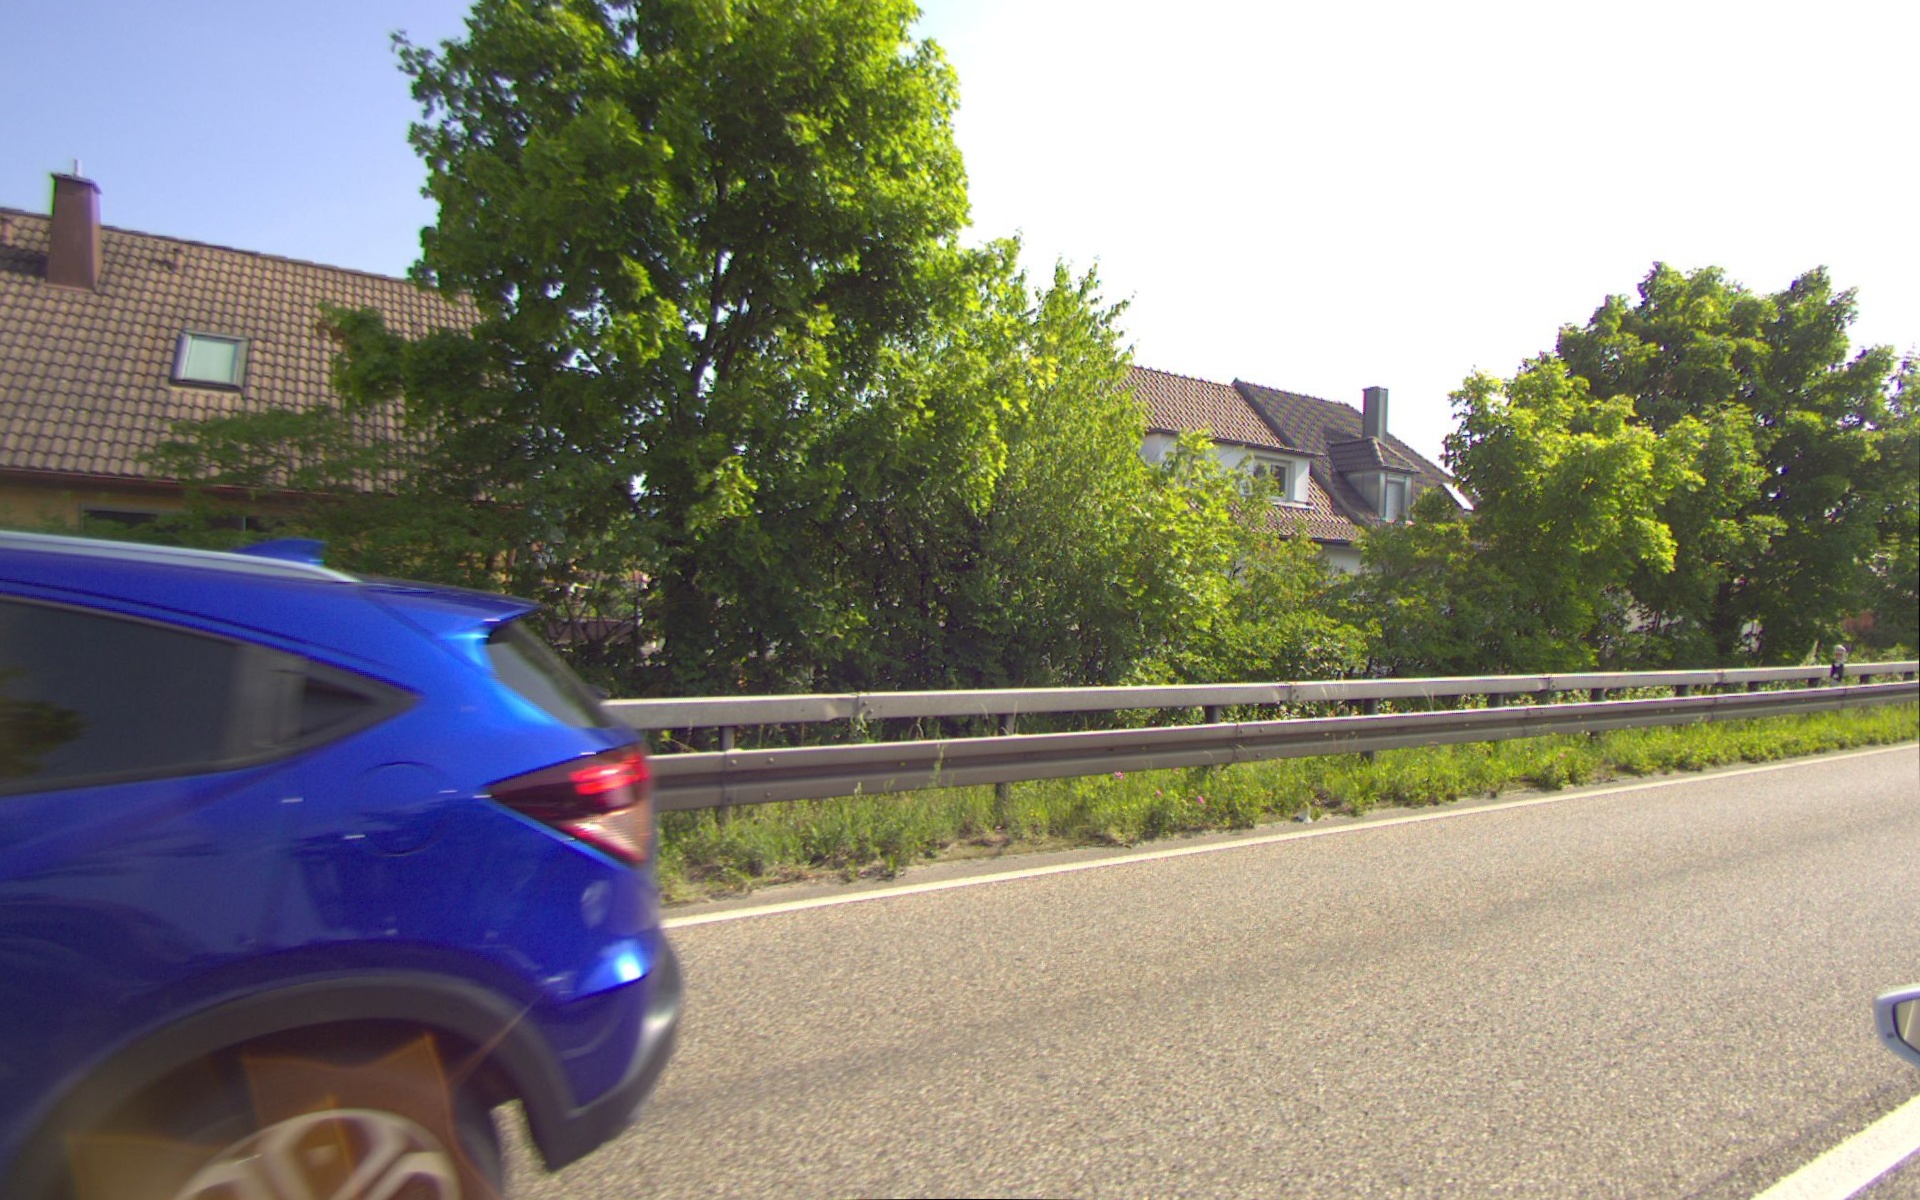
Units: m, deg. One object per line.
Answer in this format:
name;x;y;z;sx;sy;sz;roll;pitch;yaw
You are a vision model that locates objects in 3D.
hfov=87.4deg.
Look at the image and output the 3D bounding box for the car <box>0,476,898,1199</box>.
car;-2.291;0.604;2.035;3.947;1.581;1.798;2;-2;-31
